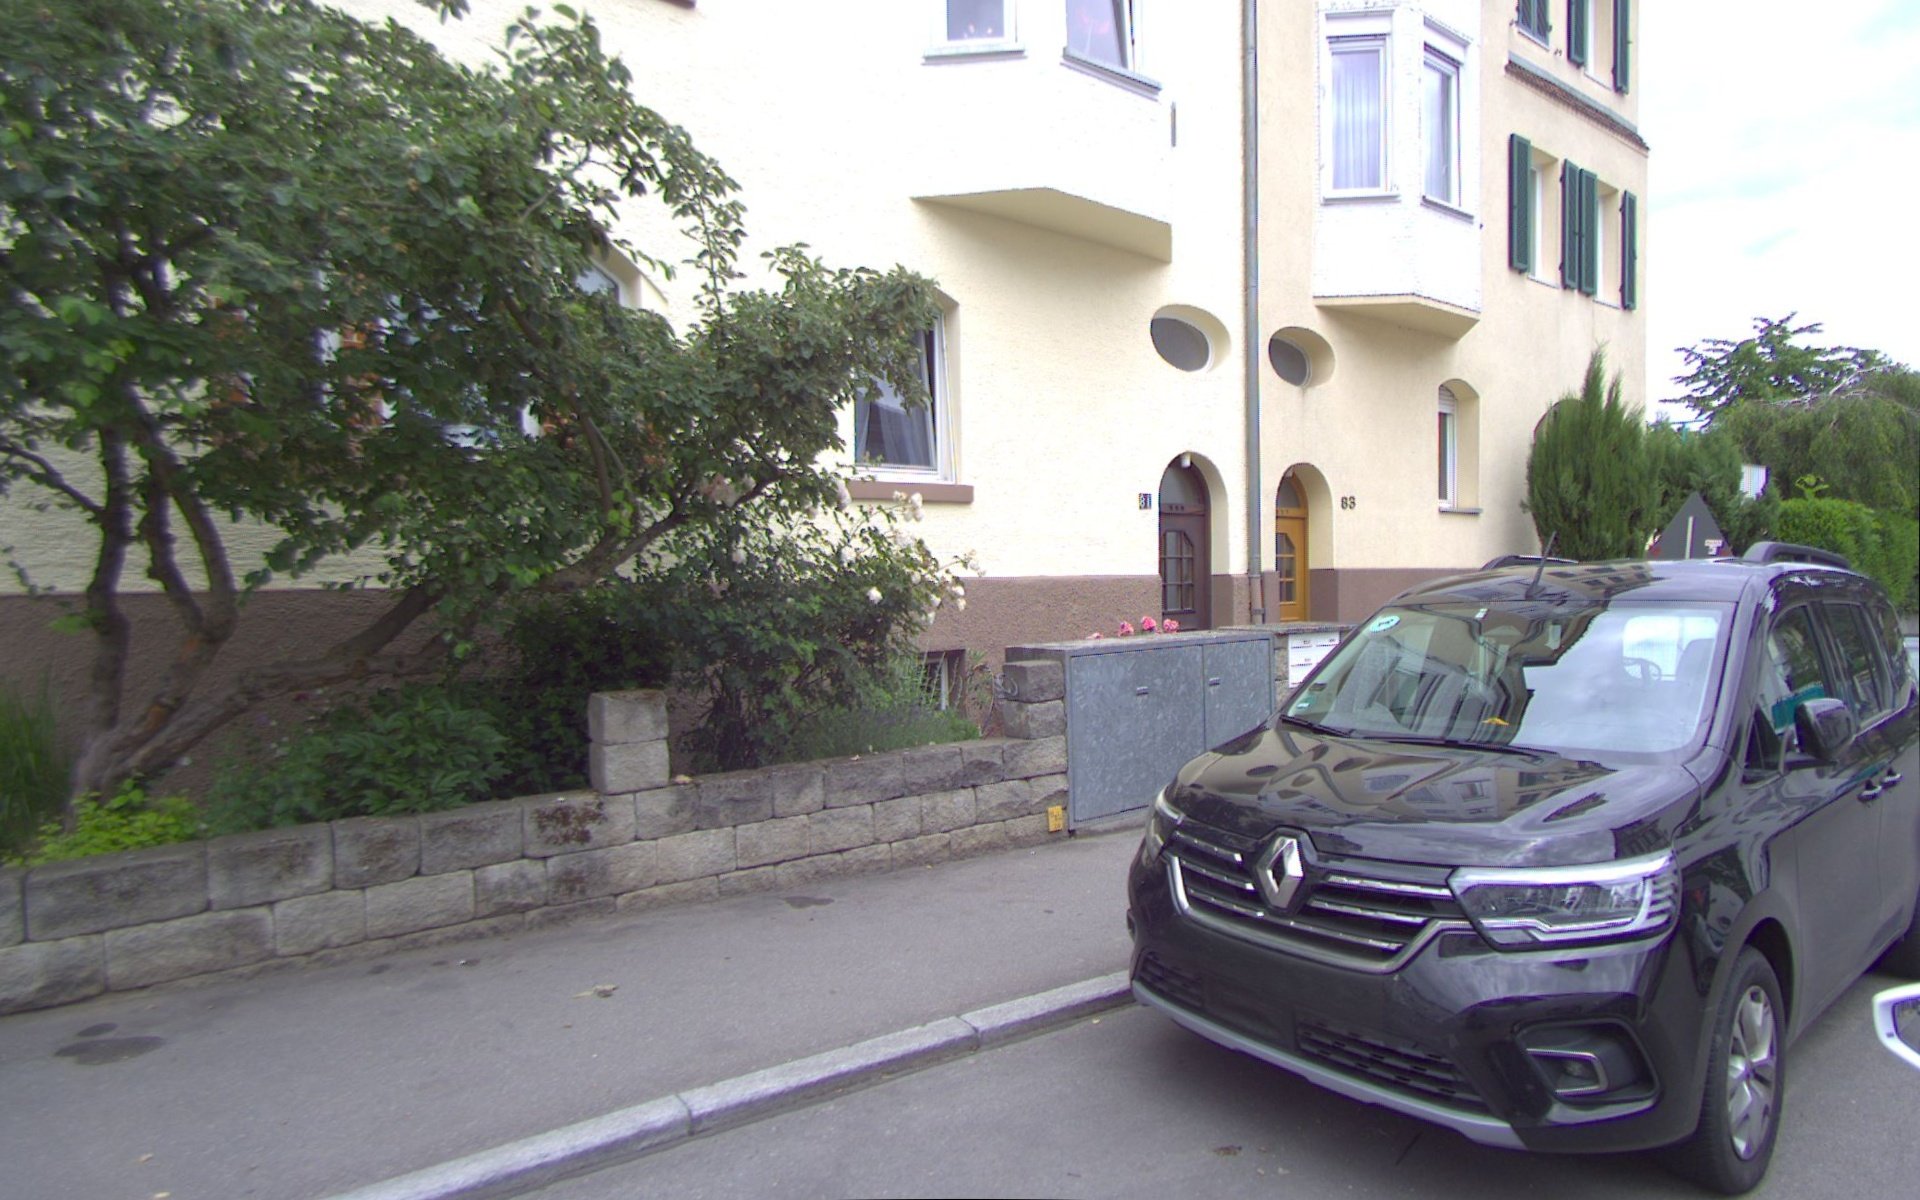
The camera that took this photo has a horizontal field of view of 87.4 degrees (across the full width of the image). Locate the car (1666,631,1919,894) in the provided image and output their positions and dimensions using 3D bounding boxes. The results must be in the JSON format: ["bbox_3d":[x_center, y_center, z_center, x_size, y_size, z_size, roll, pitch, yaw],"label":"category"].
[{"bbox_3d":[6.573,0.945,7.044,3.825,1.406,1.630,1,-1,-38],"label":"car"}]

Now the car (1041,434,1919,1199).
[{"bbox_3d":[2.593,0.662,4.094,4.505,1.839,1.830,2,-2,-39],"label":"car"}]

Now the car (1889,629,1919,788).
[{"bbox_3d":[10.682,1.010,9.854,3.946,1.435,1.630,1,-1,-37],"label":"car"}]

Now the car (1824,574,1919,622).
[{"bbox_3d":[34.494,-0.054,36.220,4.715,1.662,2.001,1,1,7],"label":"car"}]
